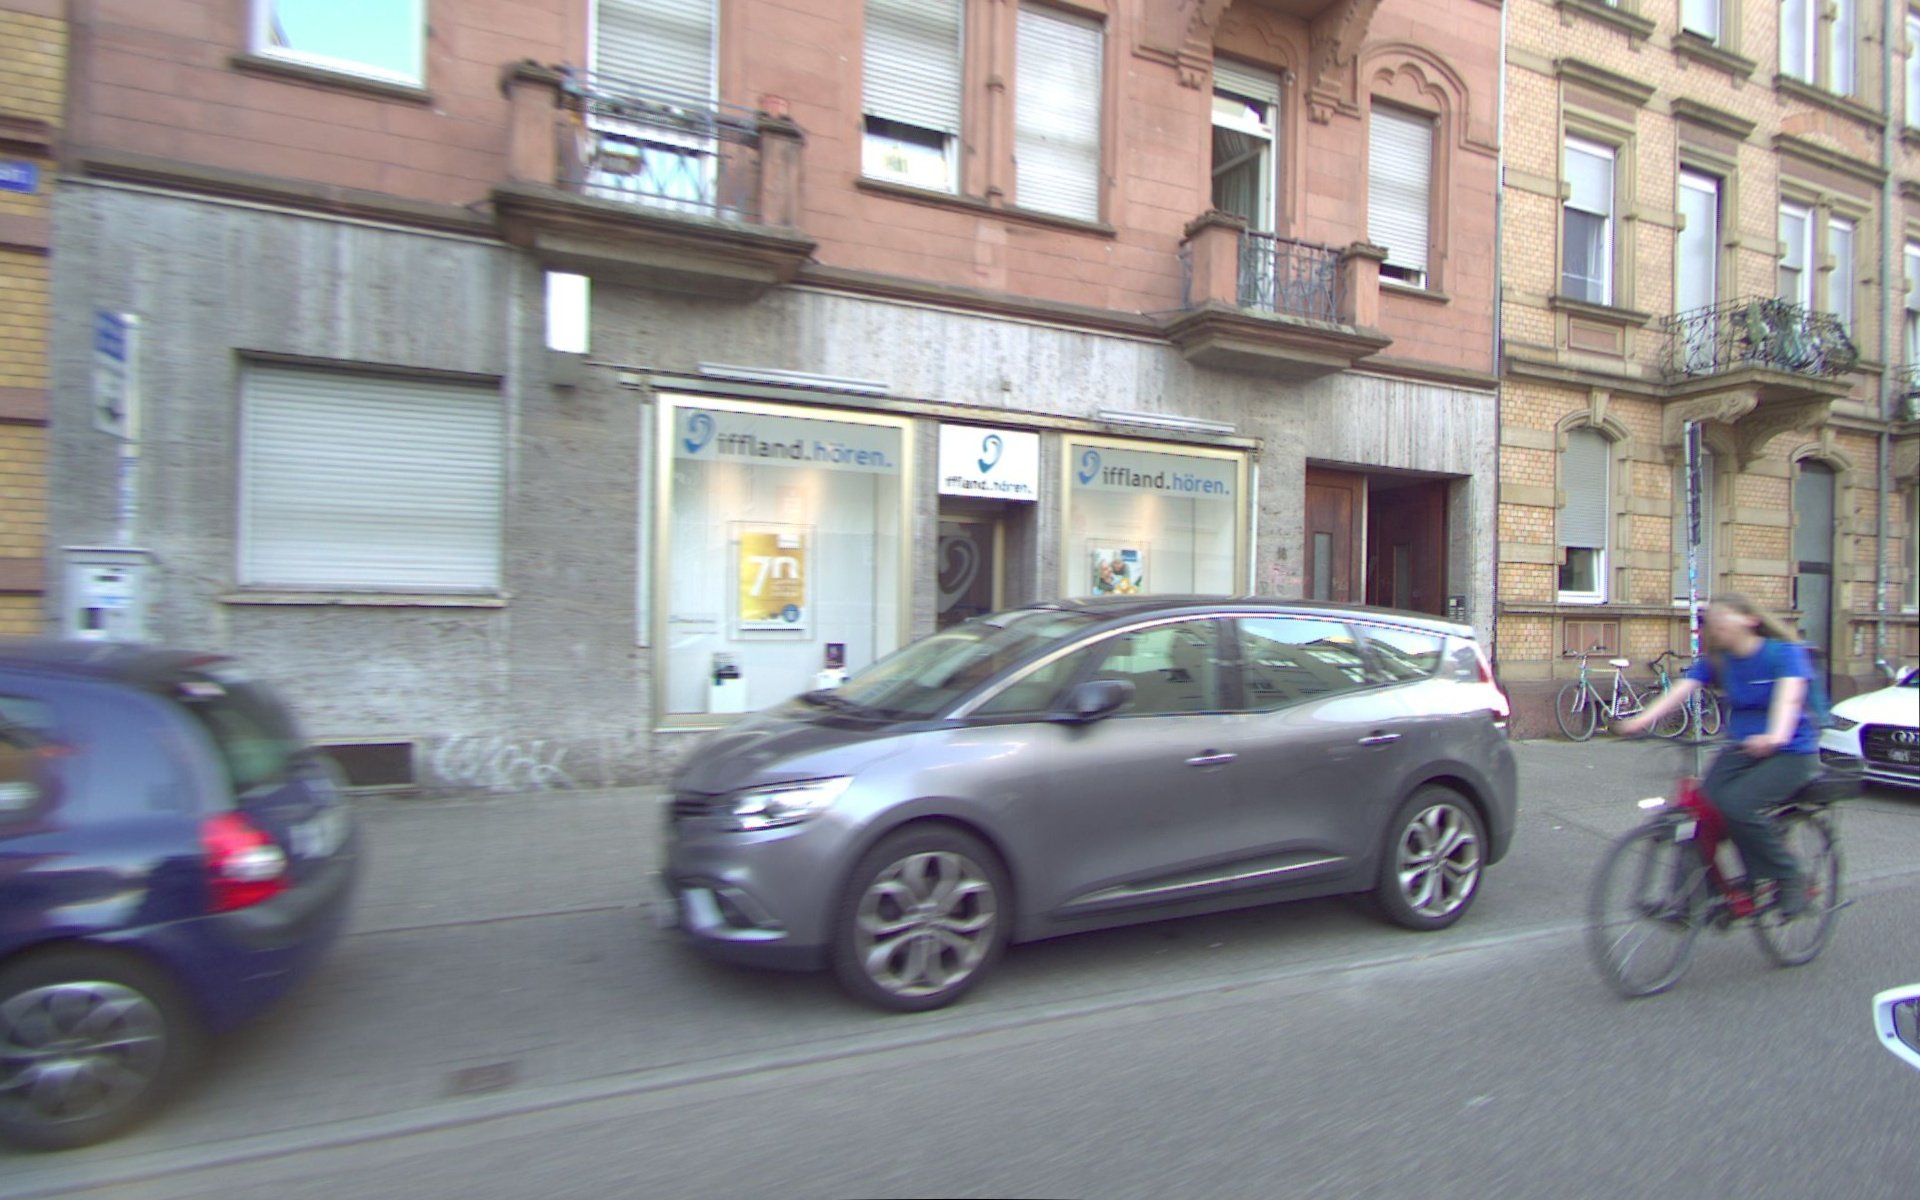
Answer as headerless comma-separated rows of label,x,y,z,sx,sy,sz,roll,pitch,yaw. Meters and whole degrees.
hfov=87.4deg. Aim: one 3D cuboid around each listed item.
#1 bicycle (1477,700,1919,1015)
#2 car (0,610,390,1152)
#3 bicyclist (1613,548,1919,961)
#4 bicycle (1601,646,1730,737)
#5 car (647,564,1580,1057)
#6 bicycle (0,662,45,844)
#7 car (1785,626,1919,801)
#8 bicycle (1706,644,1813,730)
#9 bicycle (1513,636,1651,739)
bicycle,3.367,1.023,4.379,2.133,1.095,0.644,1,-2,-17
car,-3.922,0.759,3.017,3.643,1.439,1.581,1,0,-23
bicyclist,3.544,0.629,4.447,0.903,1.642,0.645,1,-2,-17
bicycle,8.773,1.107,12.487,1.601,1.050,0.563,1,0,-24
car,0.790,0.727,5.105,4.383,1.655,1.848,1,0,-24
bicycle,-6.570,0.904,5.818,1.822,1.036,0.448,1,3,-23
car,10.020,0.993,9.385,4.445,1.431,1.754,1,0,-24
bicycle,10.638,1.129,13.348,1.605,1.041,0.589,1,0,-31
bicycle,7.410,1.014,11.954,1.706,1.147,0.514,1,0,-24
